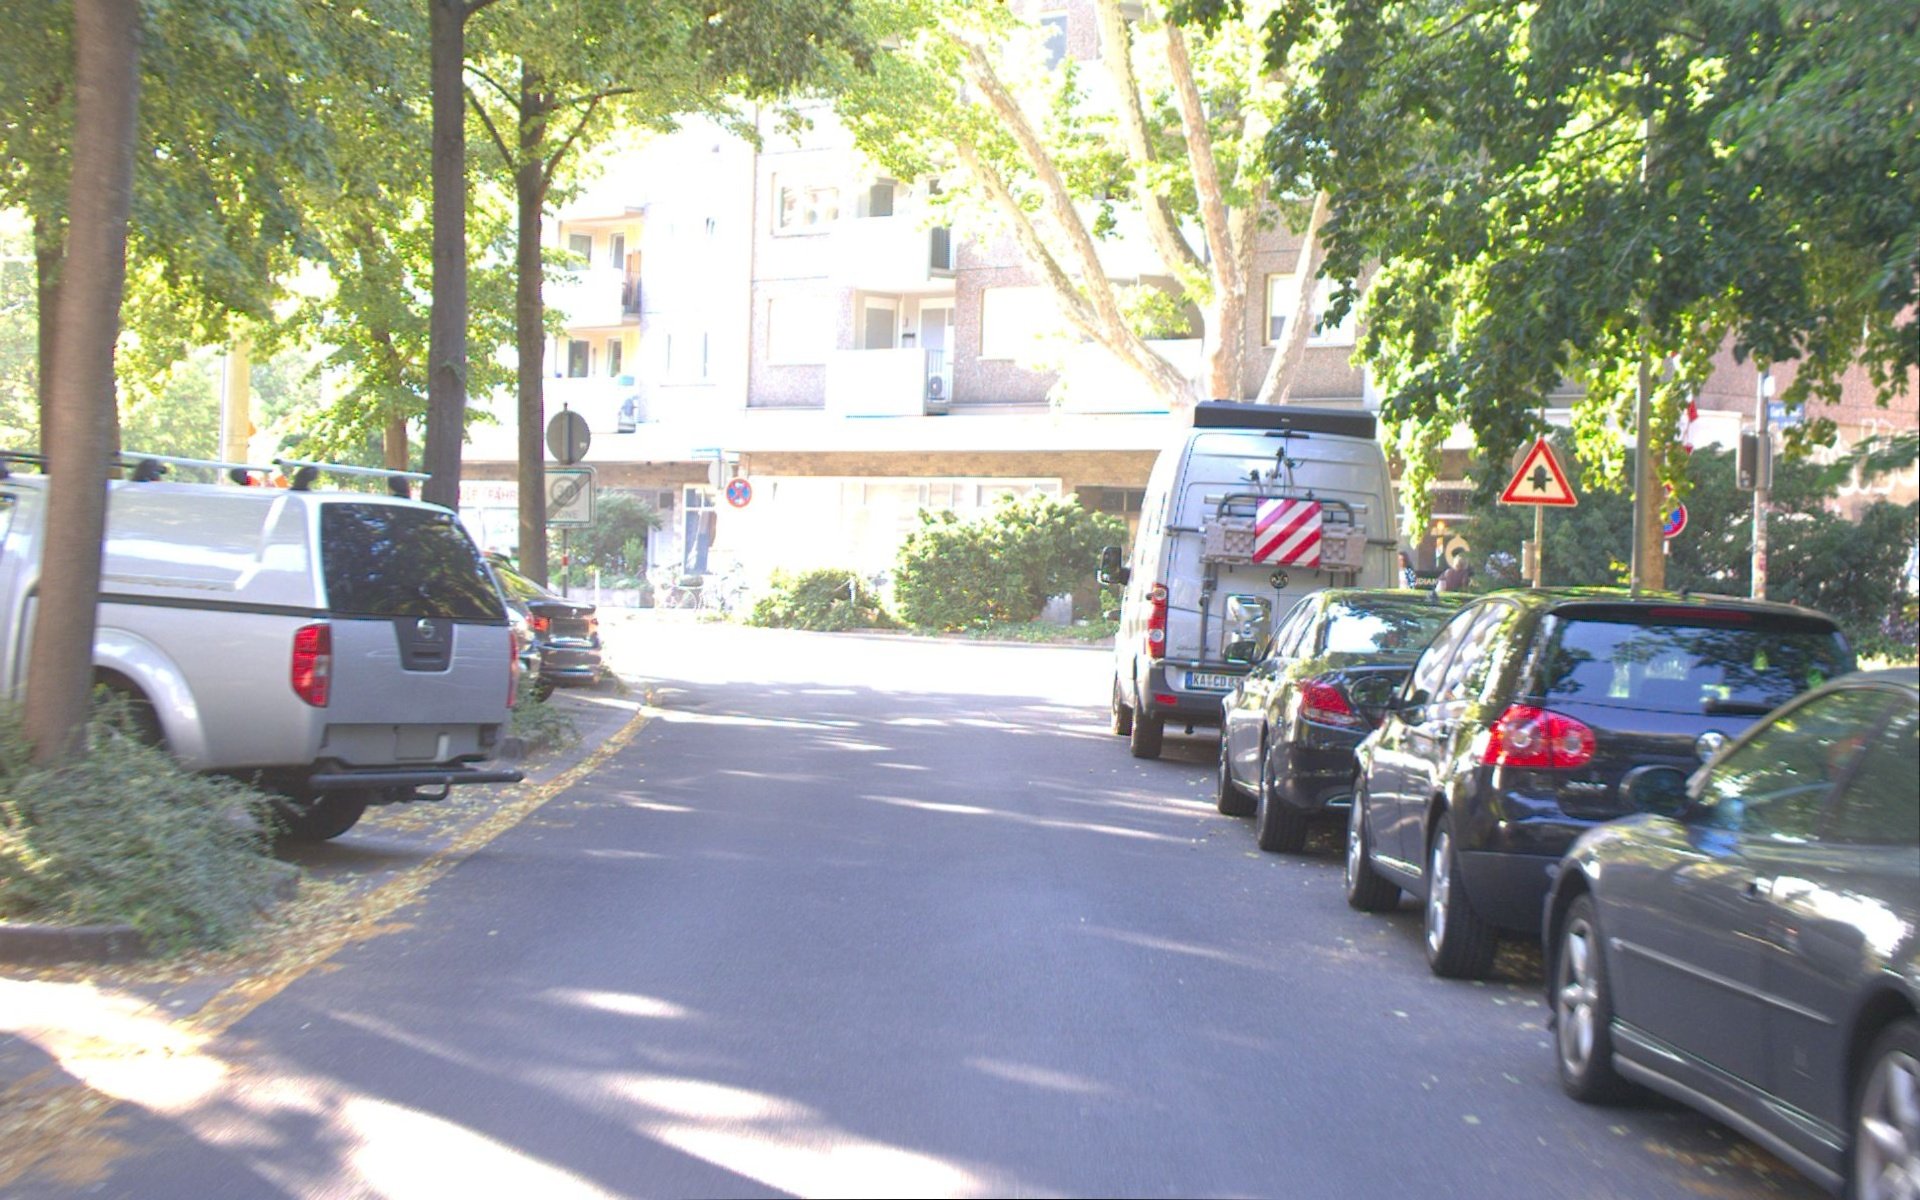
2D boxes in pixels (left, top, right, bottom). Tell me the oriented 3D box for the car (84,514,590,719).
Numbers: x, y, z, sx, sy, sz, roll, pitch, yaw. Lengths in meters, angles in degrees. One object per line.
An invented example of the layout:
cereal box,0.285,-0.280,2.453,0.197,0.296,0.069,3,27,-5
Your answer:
car,-5.395,0.131,29.806,3.864,1.434,1.829,5,1,23

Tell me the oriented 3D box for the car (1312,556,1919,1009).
car,2.573,0.613,14.163,1.680,1.520,4.288,2,1,-1

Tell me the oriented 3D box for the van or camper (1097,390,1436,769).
van or camper,2.395,-0.200,28.472,2.084,2.753,5.846,2,1,-1

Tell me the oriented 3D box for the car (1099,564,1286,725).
car,2.341,0.411,35.438,1.680,1.441,3.872,4,1,2

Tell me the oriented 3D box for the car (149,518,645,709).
car,-5.295,0.117,32.343,4.192,1.434,1.829,5,1,23

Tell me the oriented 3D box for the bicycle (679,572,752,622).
bicycle,-4.657,-0.065,65.438,0.542,0.901,1.735,1,1,-36

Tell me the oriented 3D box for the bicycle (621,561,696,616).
bicycle,-5.888,-0.239,67.005,0.638,1.019,2.088,1,1,-29

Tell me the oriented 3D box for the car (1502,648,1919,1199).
car,2.613,0.846,8.279,1.680,1.279,4.288,2,1,-3

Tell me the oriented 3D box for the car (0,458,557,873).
car,-4.762,0.186,17.514,4.993,1.775,1.984,5,1,26

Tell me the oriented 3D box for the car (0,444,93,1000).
car,-5.122,0.228,11.579,4.156,1.775,1.880,5,1,34

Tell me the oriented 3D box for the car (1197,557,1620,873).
car,2.409,0.551,19.508,1.680,1.520,4.490,2,1,-1

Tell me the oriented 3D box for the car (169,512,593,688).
car,-5.981,-0.005,35.518,3.877,1.488,1.829,5,1,25
